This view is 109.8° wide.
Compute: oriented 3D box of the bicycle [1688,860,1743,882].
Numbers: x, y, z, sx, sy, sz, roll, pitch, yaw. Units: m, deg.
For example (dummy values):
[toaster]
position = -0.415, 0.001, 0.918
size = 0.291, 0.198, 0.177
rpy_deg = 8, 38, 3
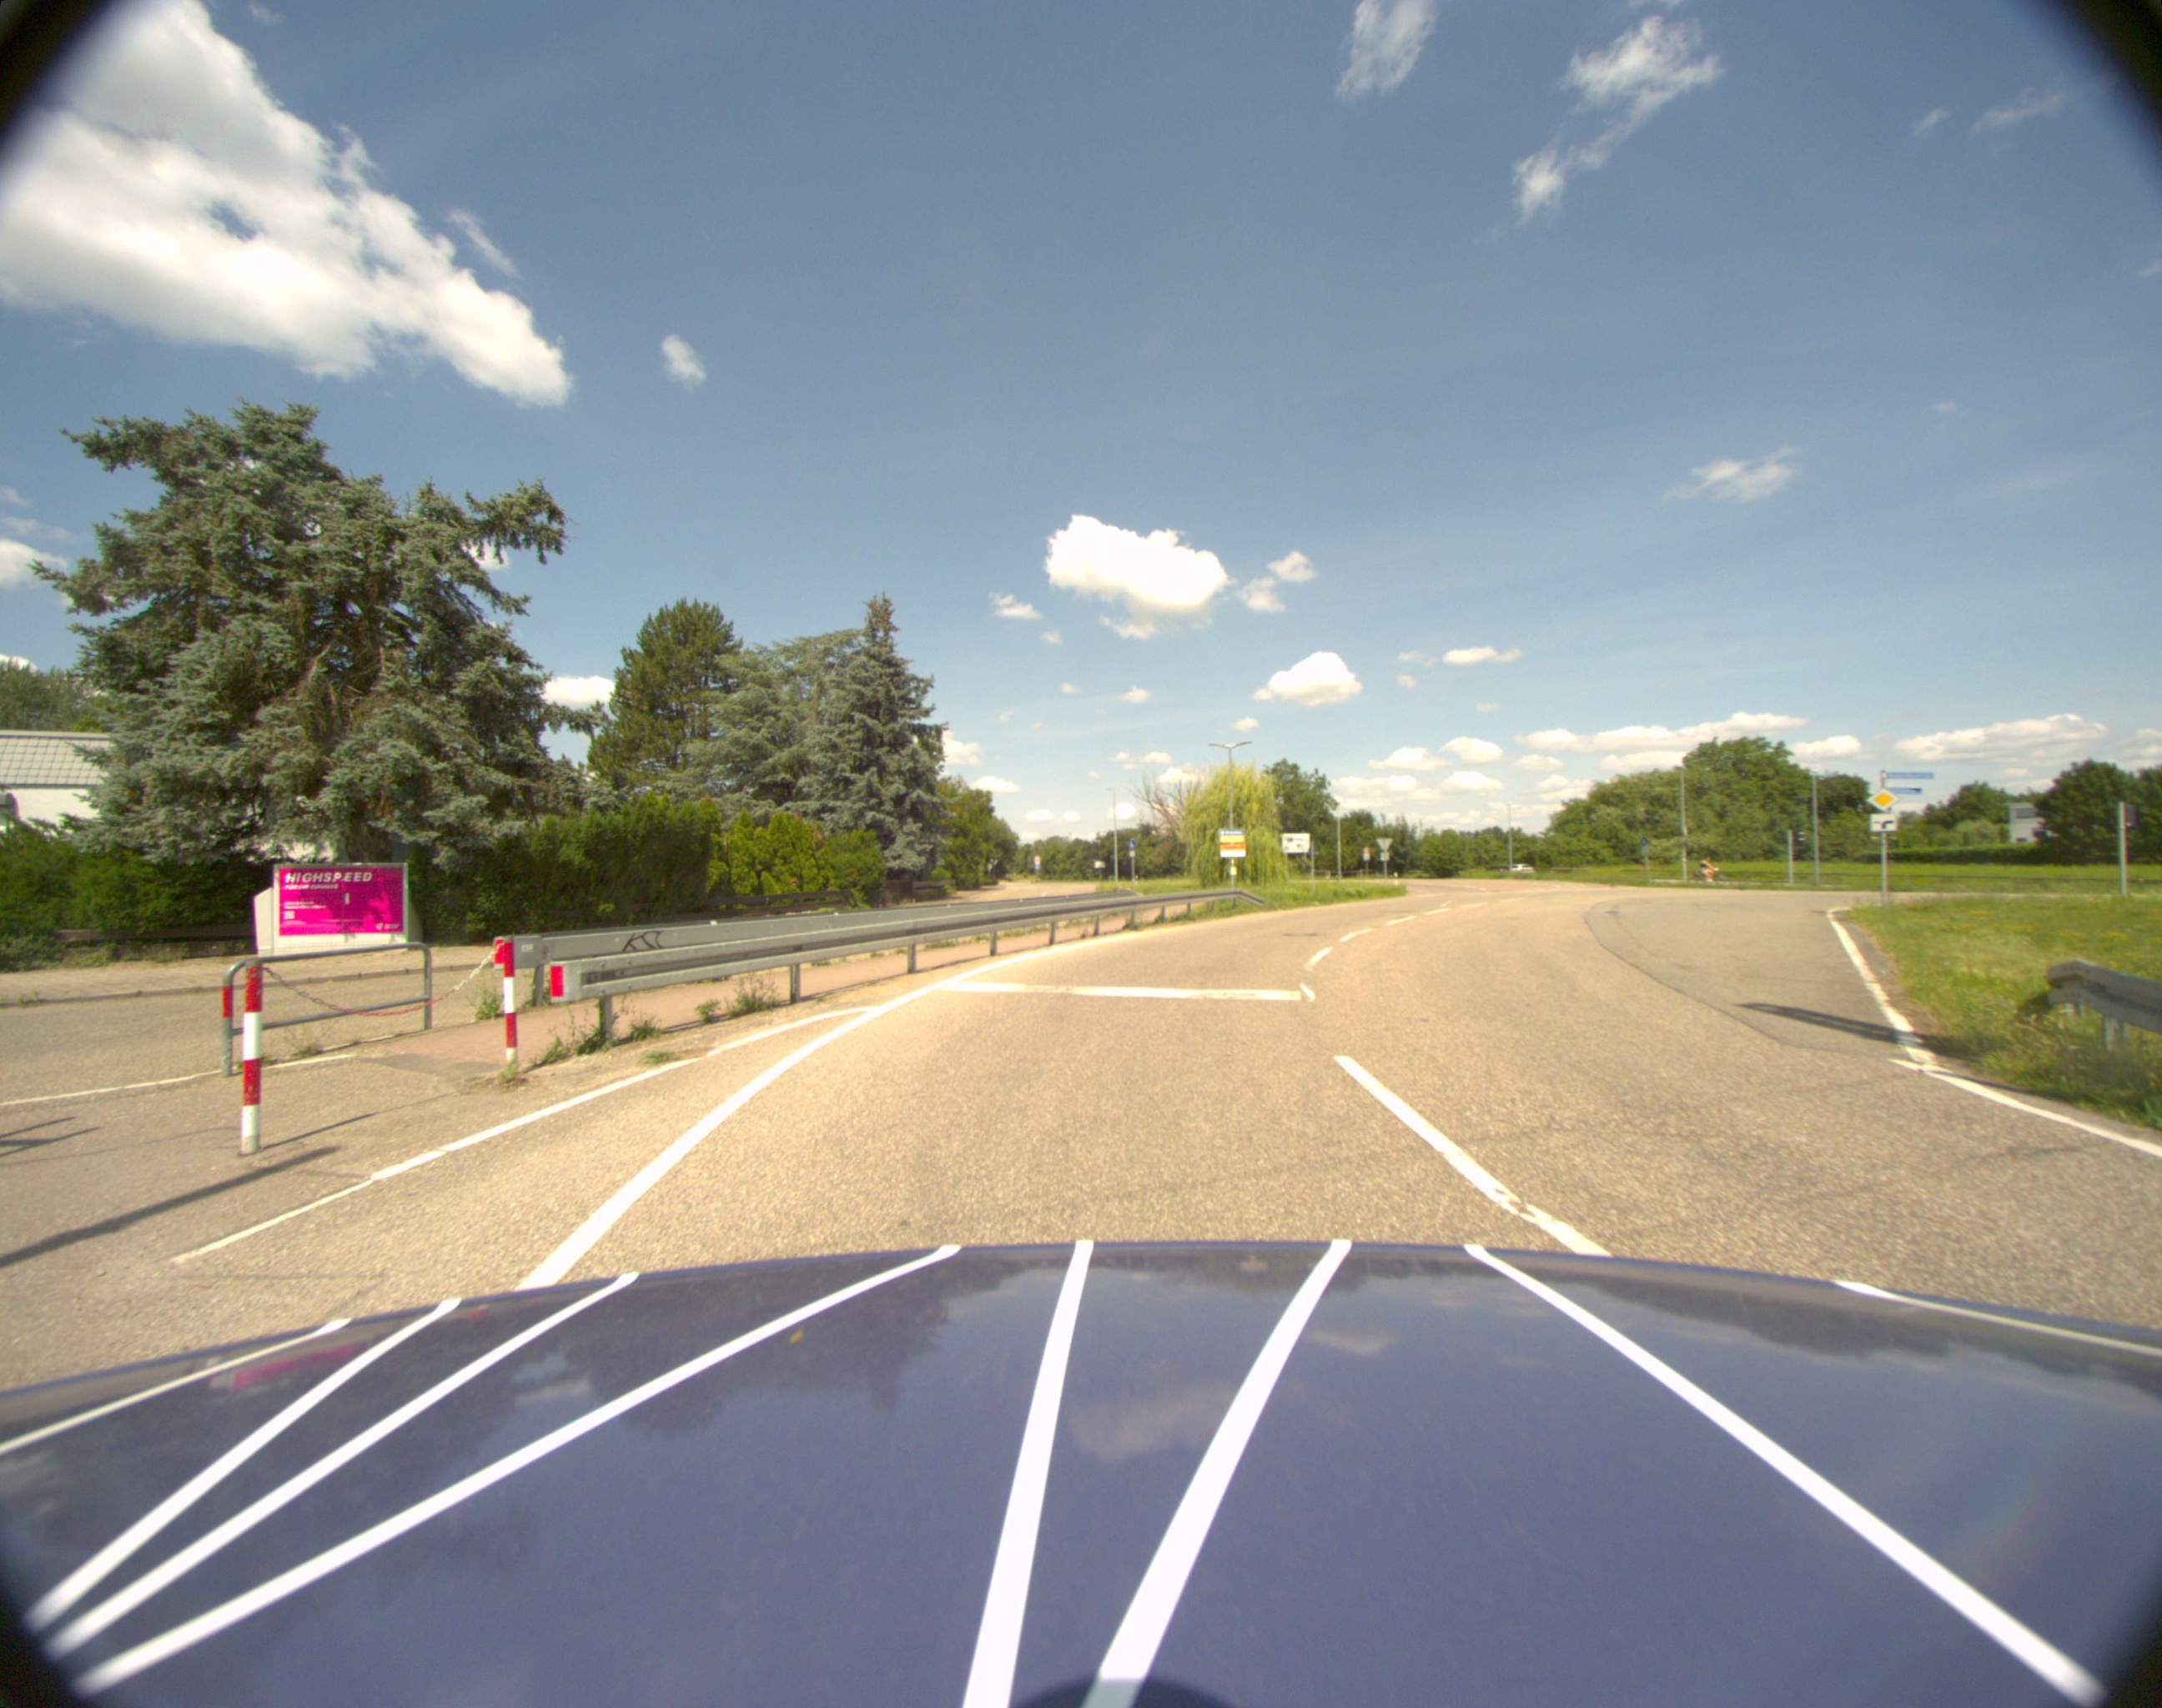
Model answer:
[bicycle]
position = 34.095, 0.920, 40.865
size = 2.141, 1.158, 0.662
rpy_deg = -2, -1, 28

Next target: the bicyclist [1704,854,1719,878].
[bicyclist]
position = 33.960, 0.653, 40.921
size = 0.510, 1.248, 0.470
rpy_deg = -1, -1, 28

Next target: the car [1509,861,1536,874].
[car]
position = 52.995, 1.626, 91.225
size = 1.418, 1.495, 3.119
rpy_deg = -2, -2, -1
